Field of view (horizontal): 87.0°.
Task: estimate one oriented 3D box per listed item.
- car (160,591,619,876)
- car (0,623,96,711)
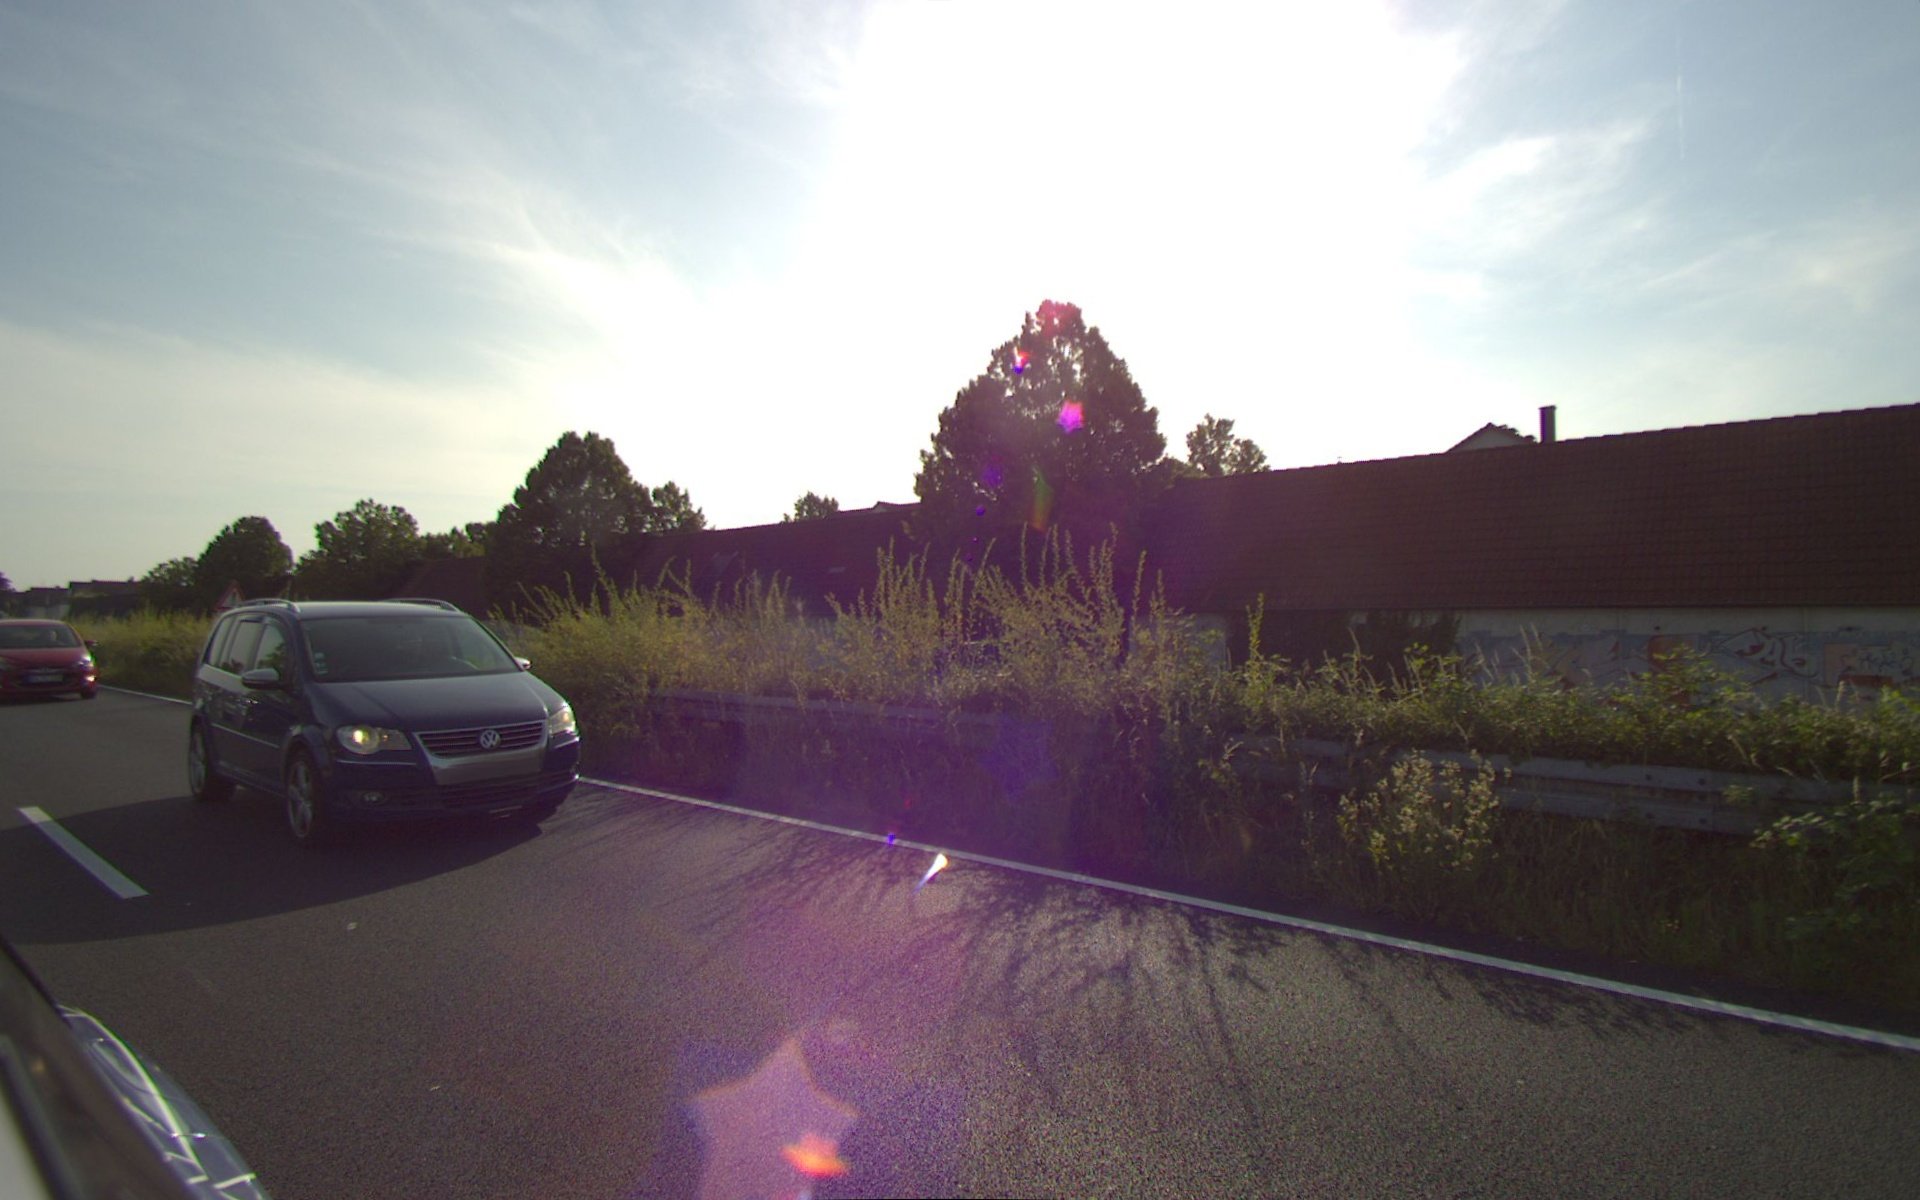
[{"bbox_3d":[-4.730,0.795,8.040,4.680,1.634,1.754,-1,-1,42],"label":"car"},{"bbox_3d":[-18.930,1.282,20.422,3.998,1.557,1.726,-1,0,41],"label":"car"}]
